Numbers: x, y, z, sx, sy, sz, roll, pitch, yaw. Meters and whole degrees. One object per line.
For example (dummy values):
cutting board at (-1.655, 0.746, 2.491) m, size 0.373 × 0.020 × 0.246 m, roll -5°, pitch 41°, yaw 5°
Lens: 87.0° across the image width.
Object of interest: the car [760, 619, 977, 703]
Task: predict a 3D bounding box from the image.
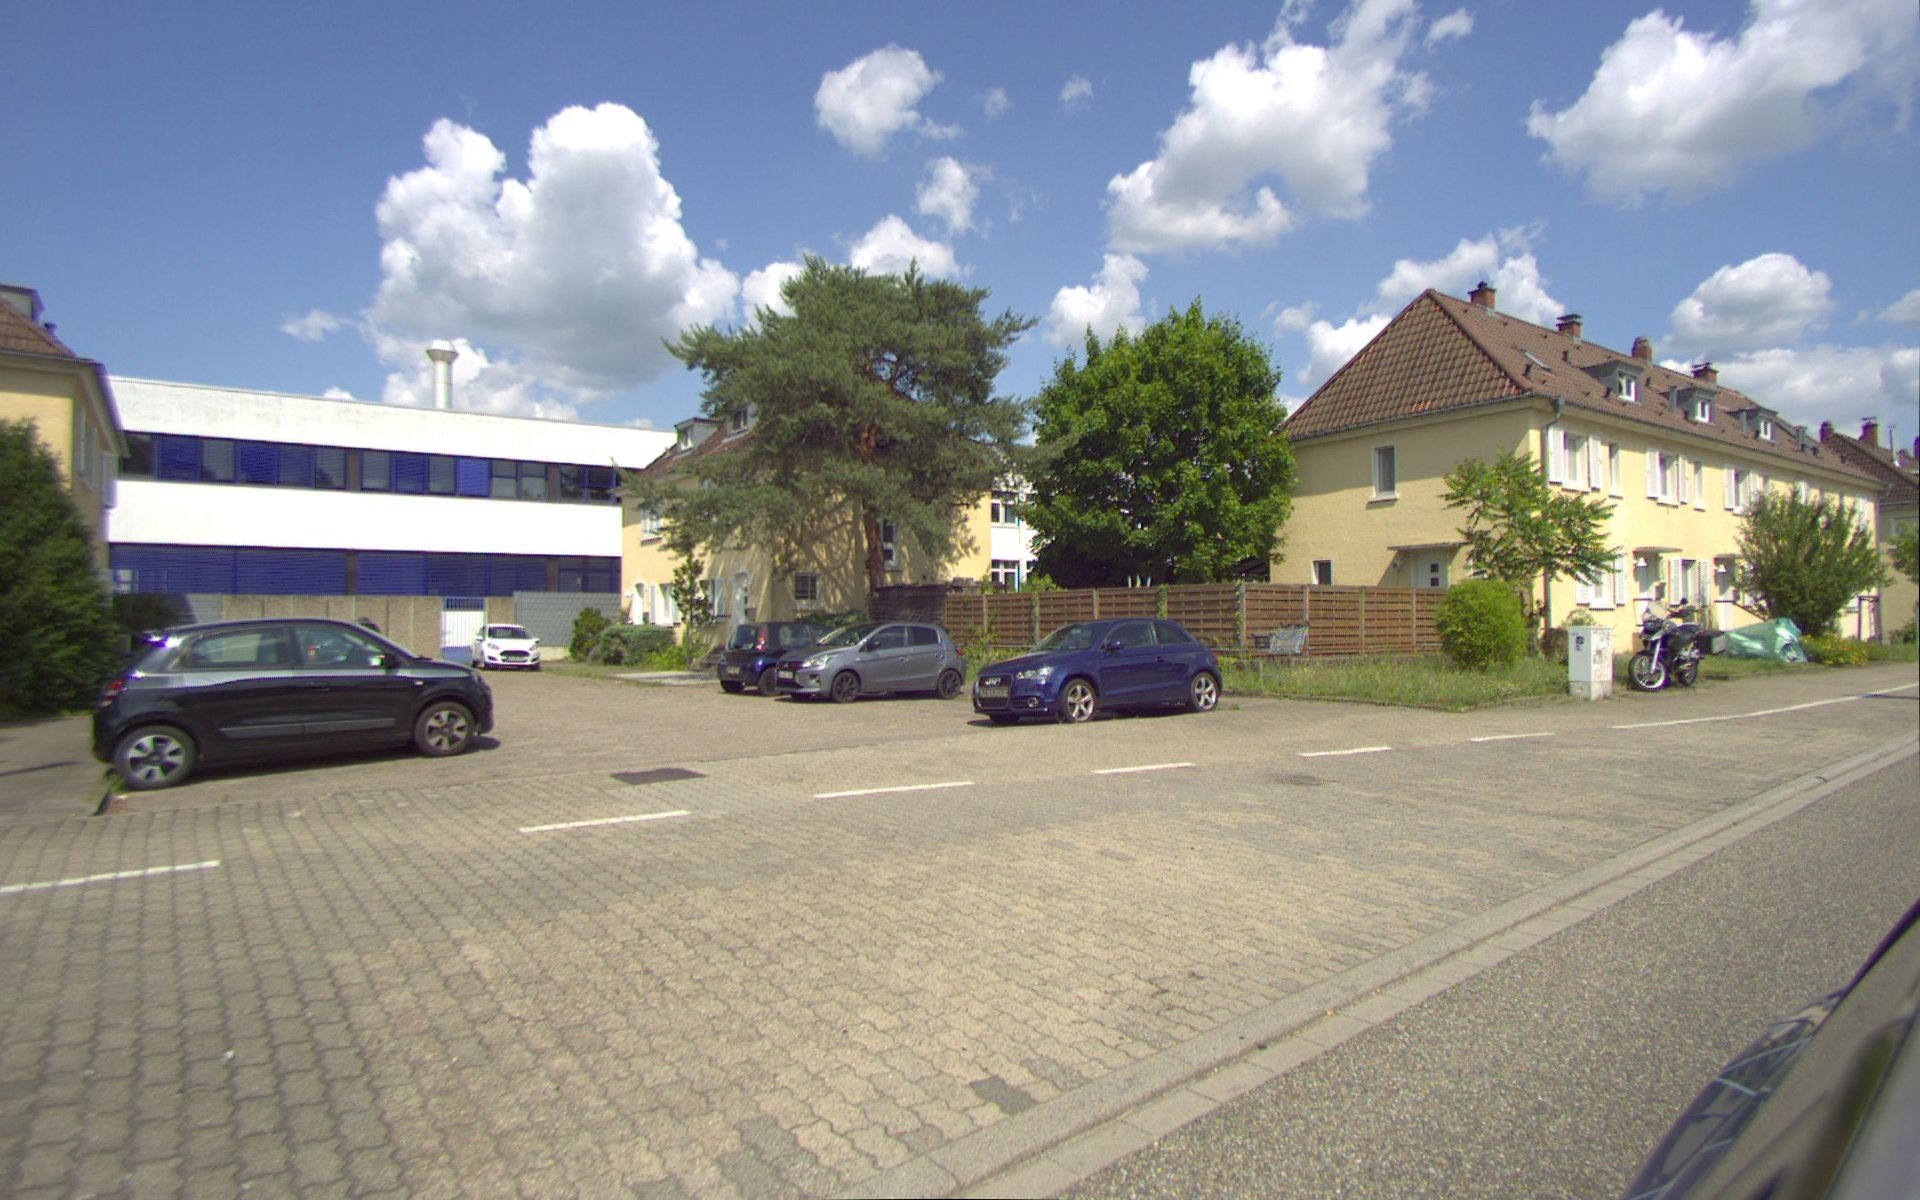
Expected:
car at (-1.630, 1.088, 18.892) m, size 3.864 × 1.416 × 1.562 m, roll 2°, pitch -3°, yaw -41°

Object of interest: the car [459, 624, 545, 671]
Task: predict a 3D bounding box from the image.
car at (-14.865, 1.505, 32.713) m, size 1.701 × 1.406 × 4.296 m, roll 4°, pitch -3°, yaw -35°

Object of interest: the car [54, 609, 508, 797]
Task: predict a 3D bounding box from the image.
car at (-6.951, 0.919, 10.598) m, size 3.743 × 1.567 × 1.630 m, roll -1°, pitch -1°, yaw -41°

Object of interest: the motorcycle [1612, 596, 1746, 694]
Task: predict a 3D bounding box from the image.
motorcycle at (11.930, 0.687, 16.758) m, size 2.536 × 1.488 × 1.050 m, roll 0°, pitch 1°, yaw -36°

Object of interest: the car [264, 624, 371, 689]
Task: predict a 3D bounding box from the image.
car at (-17.405, 1.471, 27.324) m, size 1.727 × 1.501 × 4.114 m, roll -5°, pitch 2°, yaw -42°

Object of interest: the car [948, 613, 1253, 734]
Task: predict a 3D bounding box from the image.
car at (2.037, 0.932, 14.113) m, size 4.207 × 1.398 × 1.644 m, roll 0°, pitch -2°, yaw -35°

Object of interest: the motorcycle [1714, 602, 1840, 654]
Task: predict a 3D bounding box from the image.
motorcycle at (19.966, 0.688, 24.784) m, size 0.837 × 1.213 × 2.235 m, roll 0°, pitch -2°, yaw -33°

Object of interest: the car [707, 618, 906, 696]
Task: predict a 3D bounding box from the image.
car at (-3.085, 1.121, 20.853) m, size 3.867 × 1.430 × 1.540 m, roll 2°, pitch -1°, yaw -43°

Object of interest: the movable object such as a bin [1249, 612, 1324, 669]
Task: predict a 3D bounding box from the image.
movable object such as a bin at (5.758, 0.702, 17.842) m, size 1.262 × 0.948 × 0.572 m, roll 0°, pitch -2°, yaw -32°

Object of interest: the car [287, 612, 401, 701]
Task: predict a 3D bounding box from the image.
car at (-13.982, 1.218, 22.866) m, size 1.703 × 1.709 × 4.121 m, roll -4°, pitch 1°, yaw -37°
